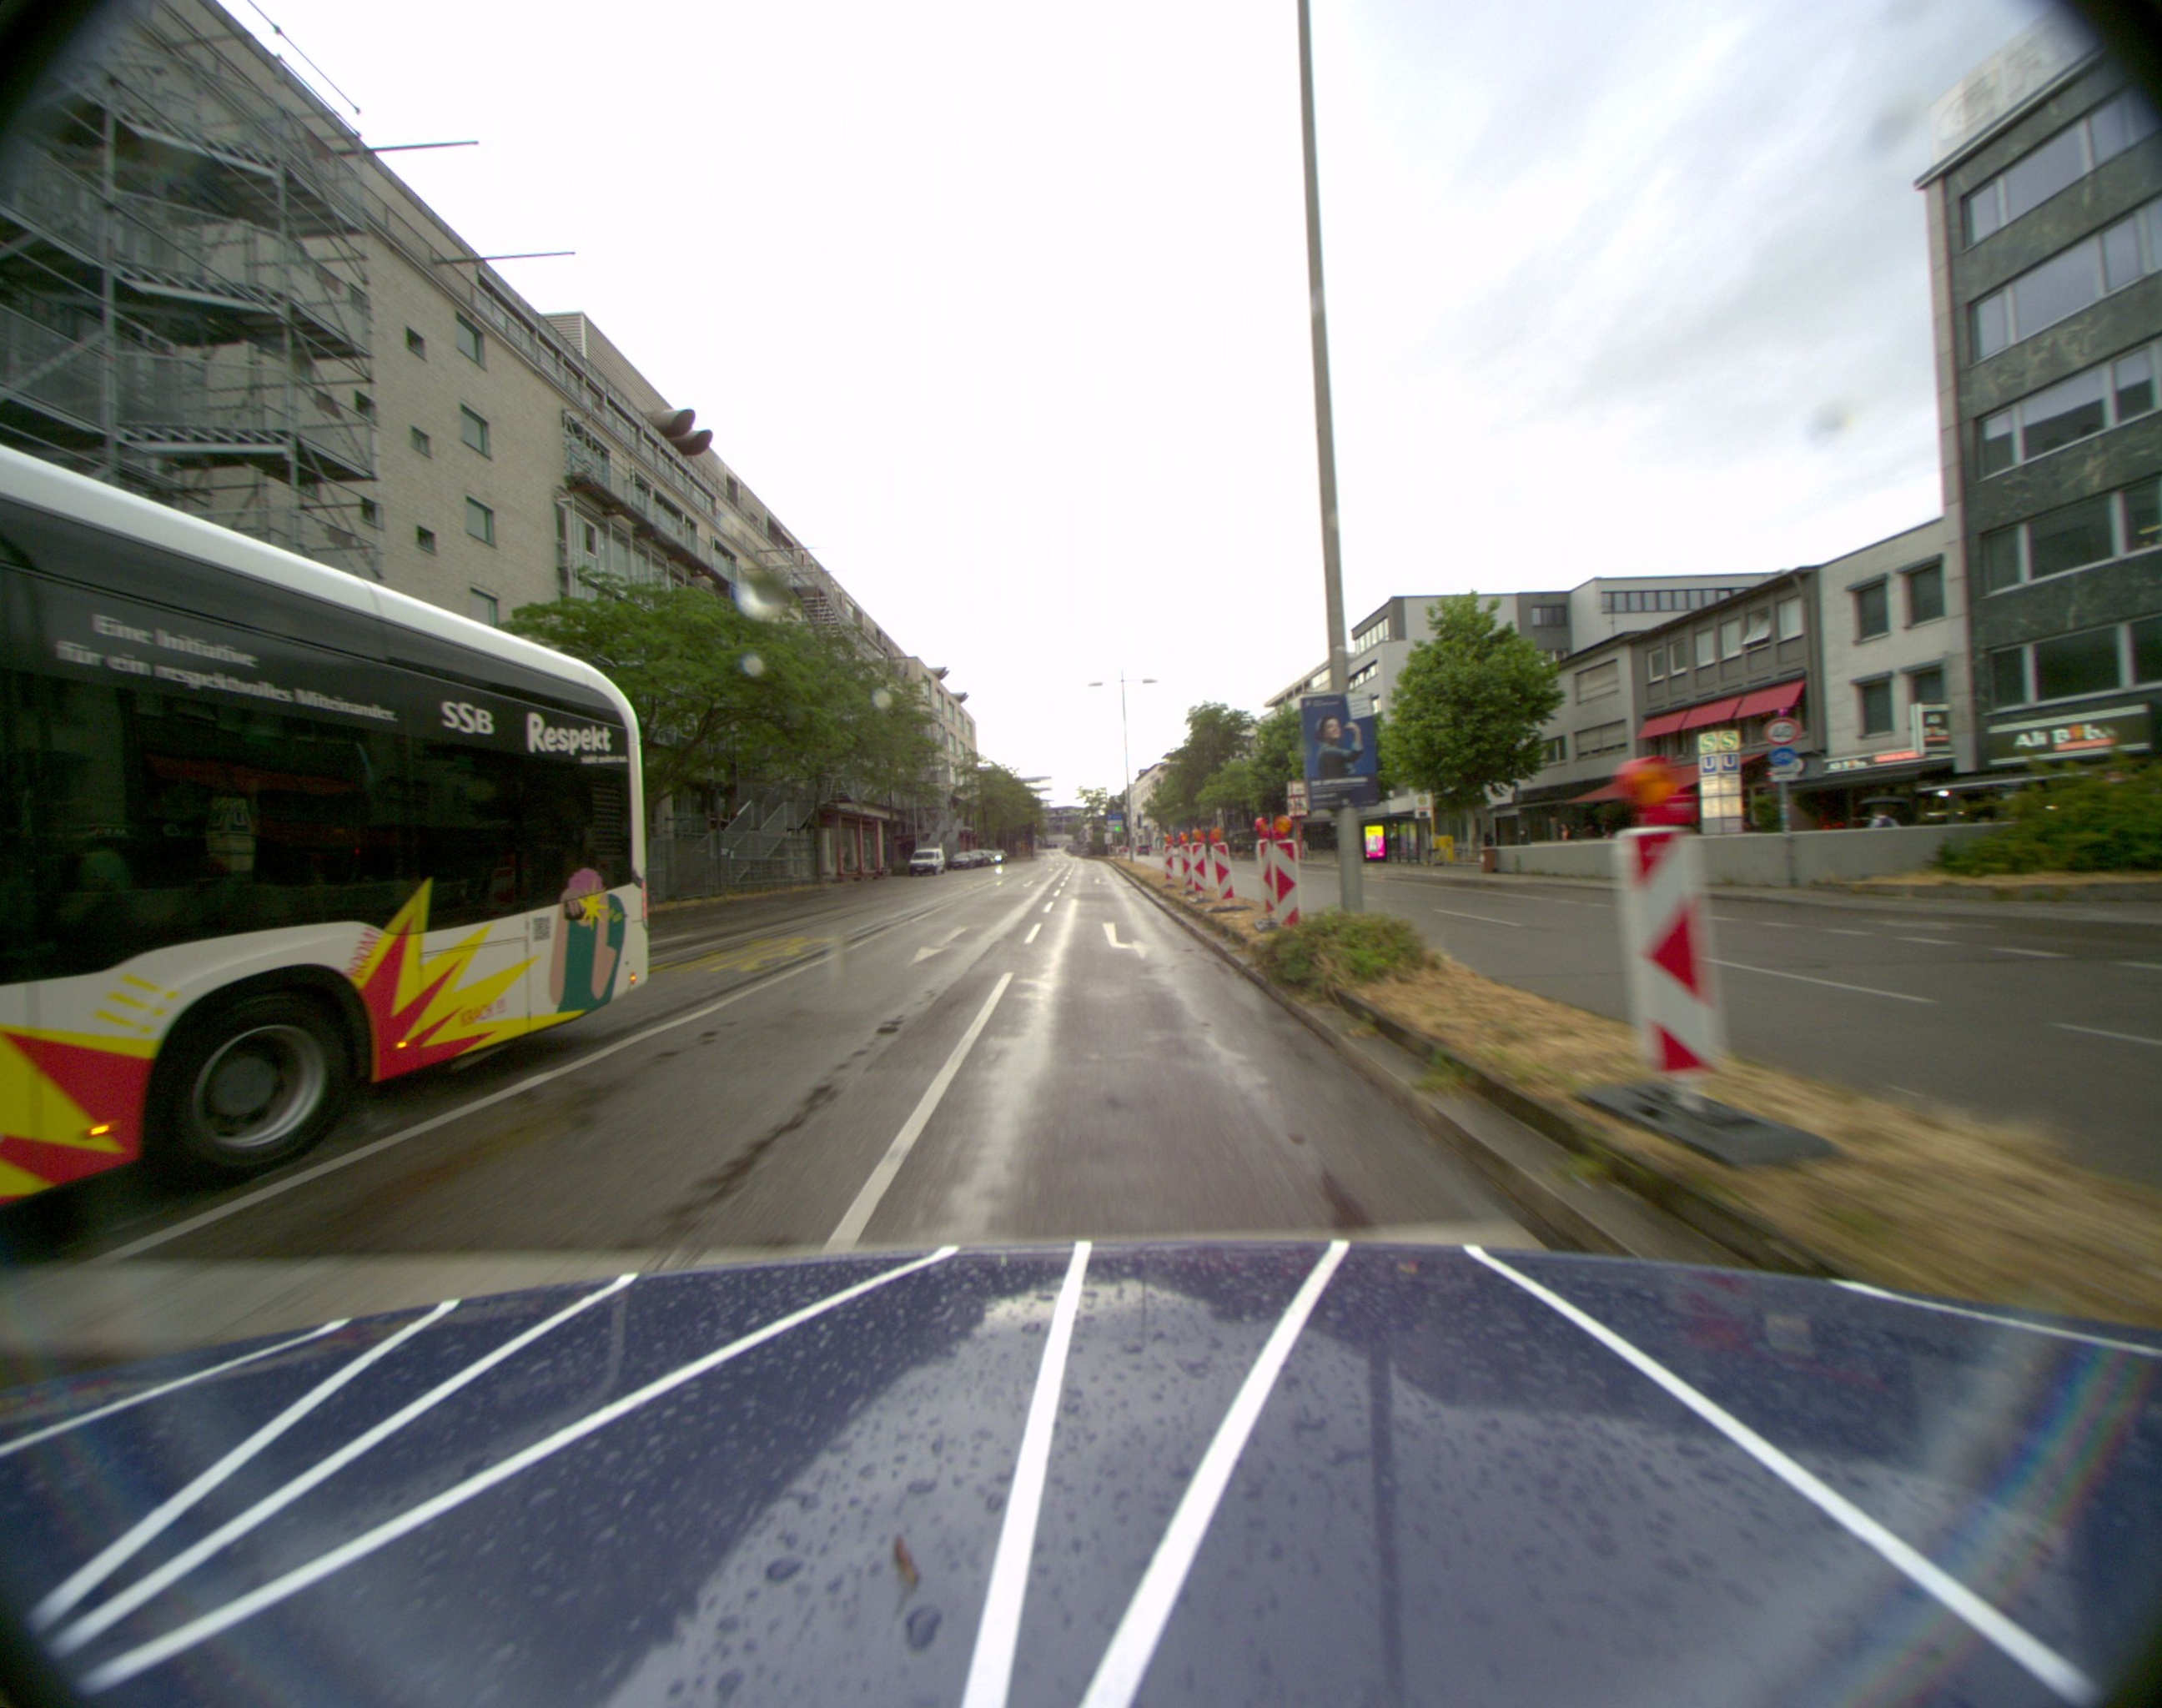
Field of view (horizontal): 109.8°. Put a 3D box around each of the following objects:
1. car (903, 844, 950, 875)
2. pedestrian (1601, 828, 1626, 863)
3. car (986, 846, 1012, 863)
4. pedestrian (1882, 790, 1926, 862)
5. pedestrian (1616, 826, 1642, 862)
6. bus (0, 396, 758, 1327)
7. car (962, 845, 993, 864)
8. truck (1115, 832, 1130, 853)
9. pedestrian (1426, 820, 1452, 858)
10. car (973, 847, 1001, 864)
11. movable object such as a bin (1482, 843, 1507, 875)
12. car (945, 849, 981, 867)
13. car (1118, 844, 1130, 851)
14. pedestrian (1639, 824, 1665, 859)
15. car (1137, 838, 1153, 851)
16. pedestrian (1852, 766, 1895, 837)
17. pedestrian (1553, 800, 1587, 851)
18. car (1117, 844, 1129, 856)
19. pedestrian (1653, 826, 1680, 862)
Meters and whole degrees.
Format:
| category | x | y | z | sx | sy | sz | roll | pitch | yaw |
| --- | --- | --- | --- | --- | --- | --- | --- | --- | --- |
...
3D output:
| category | x | y | z | sx | sy | sz | roll | pitch | yaw |
| --- | --- | --- | --- | --- | --- | --- | --- | --- | --- |
| car | -10.394 | 0.340 | 51.493 | 2.213 | 1.895 | 4.329 | -2 | 1 | 1 |
| pedestrian | 23.453 | -0.385 | 33.451 | 0.669 | 1.520 | 0.611 | -2 | 1 | 4 |
| car | -8.728 | 0.028 | 81.257 | 2.147 | 1.637 | 4.815 | -2 | 1 | 1 |
| pedestrian | 23.781 | -0.801 | 21.962 | 0.597 | 2.002 | 0.729 | -2 | 1 | 21 |
| pedestrian | 23.388 | -0.424 | 32.447 | 0.669 | 1.520 | 0.611 | -2 | 1 | 4 |
| bus | -5.388 | 0.031 | 3.976 | 2.890 | 3.420 | 9.708 | -2 | 1 | 1 |
| car | -9.479 | 0.023 | 70.048 | 2.147 | 1.486 | 4.815 | -2 | 1 | 1 |
| truck | 7.319 | -2.099 | 135.903 | 1.999 | 3.557 | 7.571 | -2 | 1 | -1 |
| pedestrian | 19.531 | -0.825 | 41.459 | 0.922 | 2.002 | 0.944 | -2 | 2 | 1 |
| car | -9.304 | 0.135 | 75.523 | 2.147 | 1.552 | 4.815 | -2 | 1 | 1 |
| movable object such as a bin | 14.671 | 0.186 | 26.980 | 0.507 | 1.094 | 0.660 | -2 | 2 | -2 |
| car | -9.747 | 0.316 | 63.257 | 2.147 | 1.329 | 4.815 | -2 | 1 | 1 |
| car | 9.597 | -1.393 | 168.922 | 1.693 | 1.501 | 4.287 | -2 | 1 | -9 |
| pedestrian | 25.103 | -0.541 | 33.422 | 0.669 | 1.520 | 0.611 | -2 | 1 | 4 |
| car | 10.810 | -1.623 | 127.675 | 1.999 | 1.917 | 4.962 | -3 | 2 | -2 |
| pedestrian | 23.137 | -1.510 | 22.186 | 0.597 | 2.002 | 0.729 | -2 | 1 | 21 |
| pedestrian | 17.884 | -1.046 | 27.804 | 0.611 | 1.813 | 0.791 | -3 | 2 | -19 |
| car | 7.210 | -0.686 | 131.326 | 1.998 | 2.002 | 3.999 | -2 | 1 | 2 |
| pedestrian | 25.105 | -0.436 | 32.585 | 0.669 | 1.520 | 0.611 | -2 | 1 | 4 |
